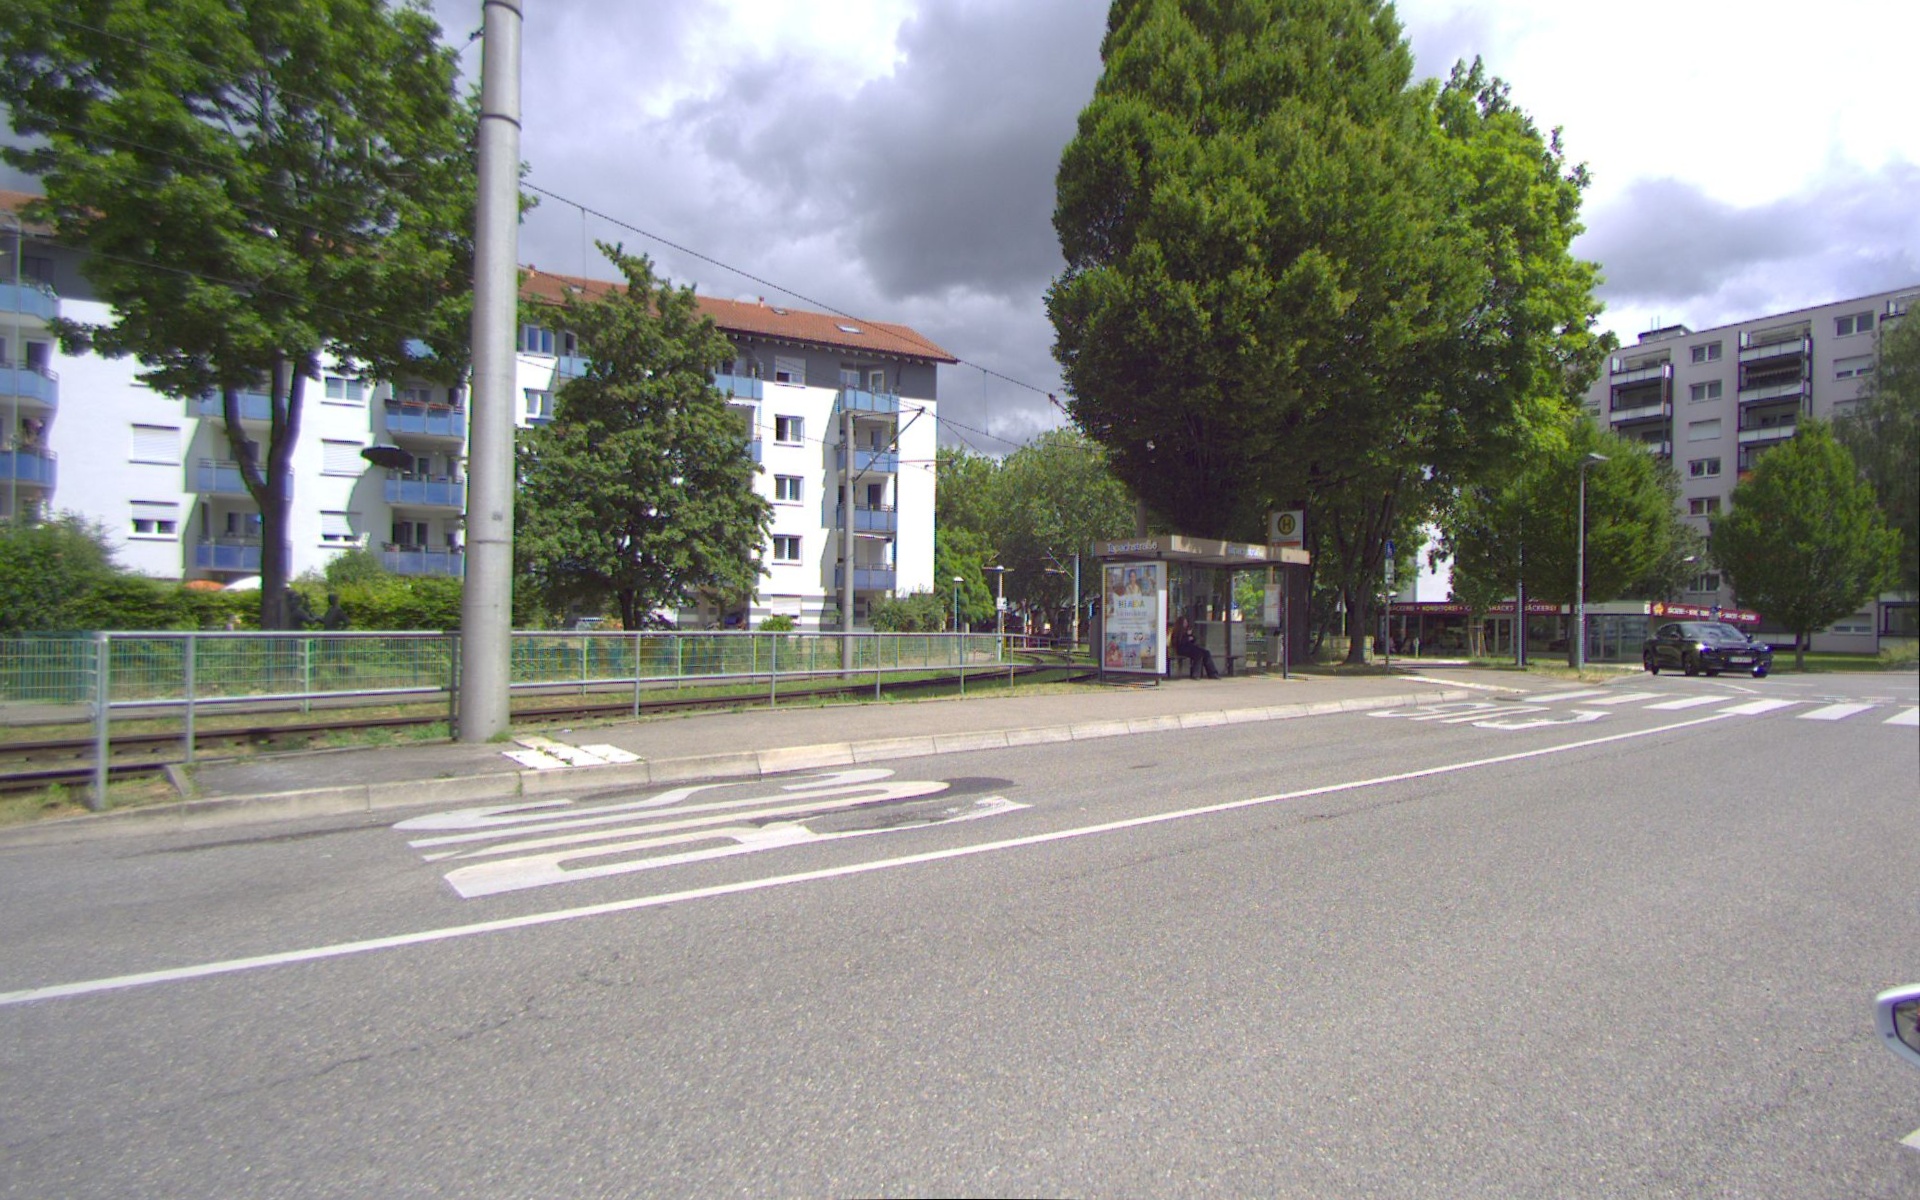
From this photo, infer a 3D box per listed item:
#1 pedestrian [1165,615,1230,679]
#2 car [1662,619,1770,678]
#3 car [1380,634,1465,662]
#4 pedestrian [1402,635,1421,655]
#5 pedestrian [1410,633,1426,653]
[{"bbox_3d":[4.463,0.877,18.879,0.903,1.150,0.792,1,0,-38],"label":"pedestrian"},{"bbox_3d":[21.698,1.351,29.015,1.965,1.546,4.515,-1,-2,31],"label":"car"},{"bbox_3d":[23.650,2.432,51.557,1.790,1.402,4.613,0,-2,-7],"label":"car"},{"bbox_3d":[30.870,3.052,68.730,0.871,1.342,0.815,1,1,-32],"label":"pedestrian"},{"bbox_3d":[31.561,2.972,69.230,0.710,1.399,0.694,1,-2,-25],"label":"pedestrian"}]
